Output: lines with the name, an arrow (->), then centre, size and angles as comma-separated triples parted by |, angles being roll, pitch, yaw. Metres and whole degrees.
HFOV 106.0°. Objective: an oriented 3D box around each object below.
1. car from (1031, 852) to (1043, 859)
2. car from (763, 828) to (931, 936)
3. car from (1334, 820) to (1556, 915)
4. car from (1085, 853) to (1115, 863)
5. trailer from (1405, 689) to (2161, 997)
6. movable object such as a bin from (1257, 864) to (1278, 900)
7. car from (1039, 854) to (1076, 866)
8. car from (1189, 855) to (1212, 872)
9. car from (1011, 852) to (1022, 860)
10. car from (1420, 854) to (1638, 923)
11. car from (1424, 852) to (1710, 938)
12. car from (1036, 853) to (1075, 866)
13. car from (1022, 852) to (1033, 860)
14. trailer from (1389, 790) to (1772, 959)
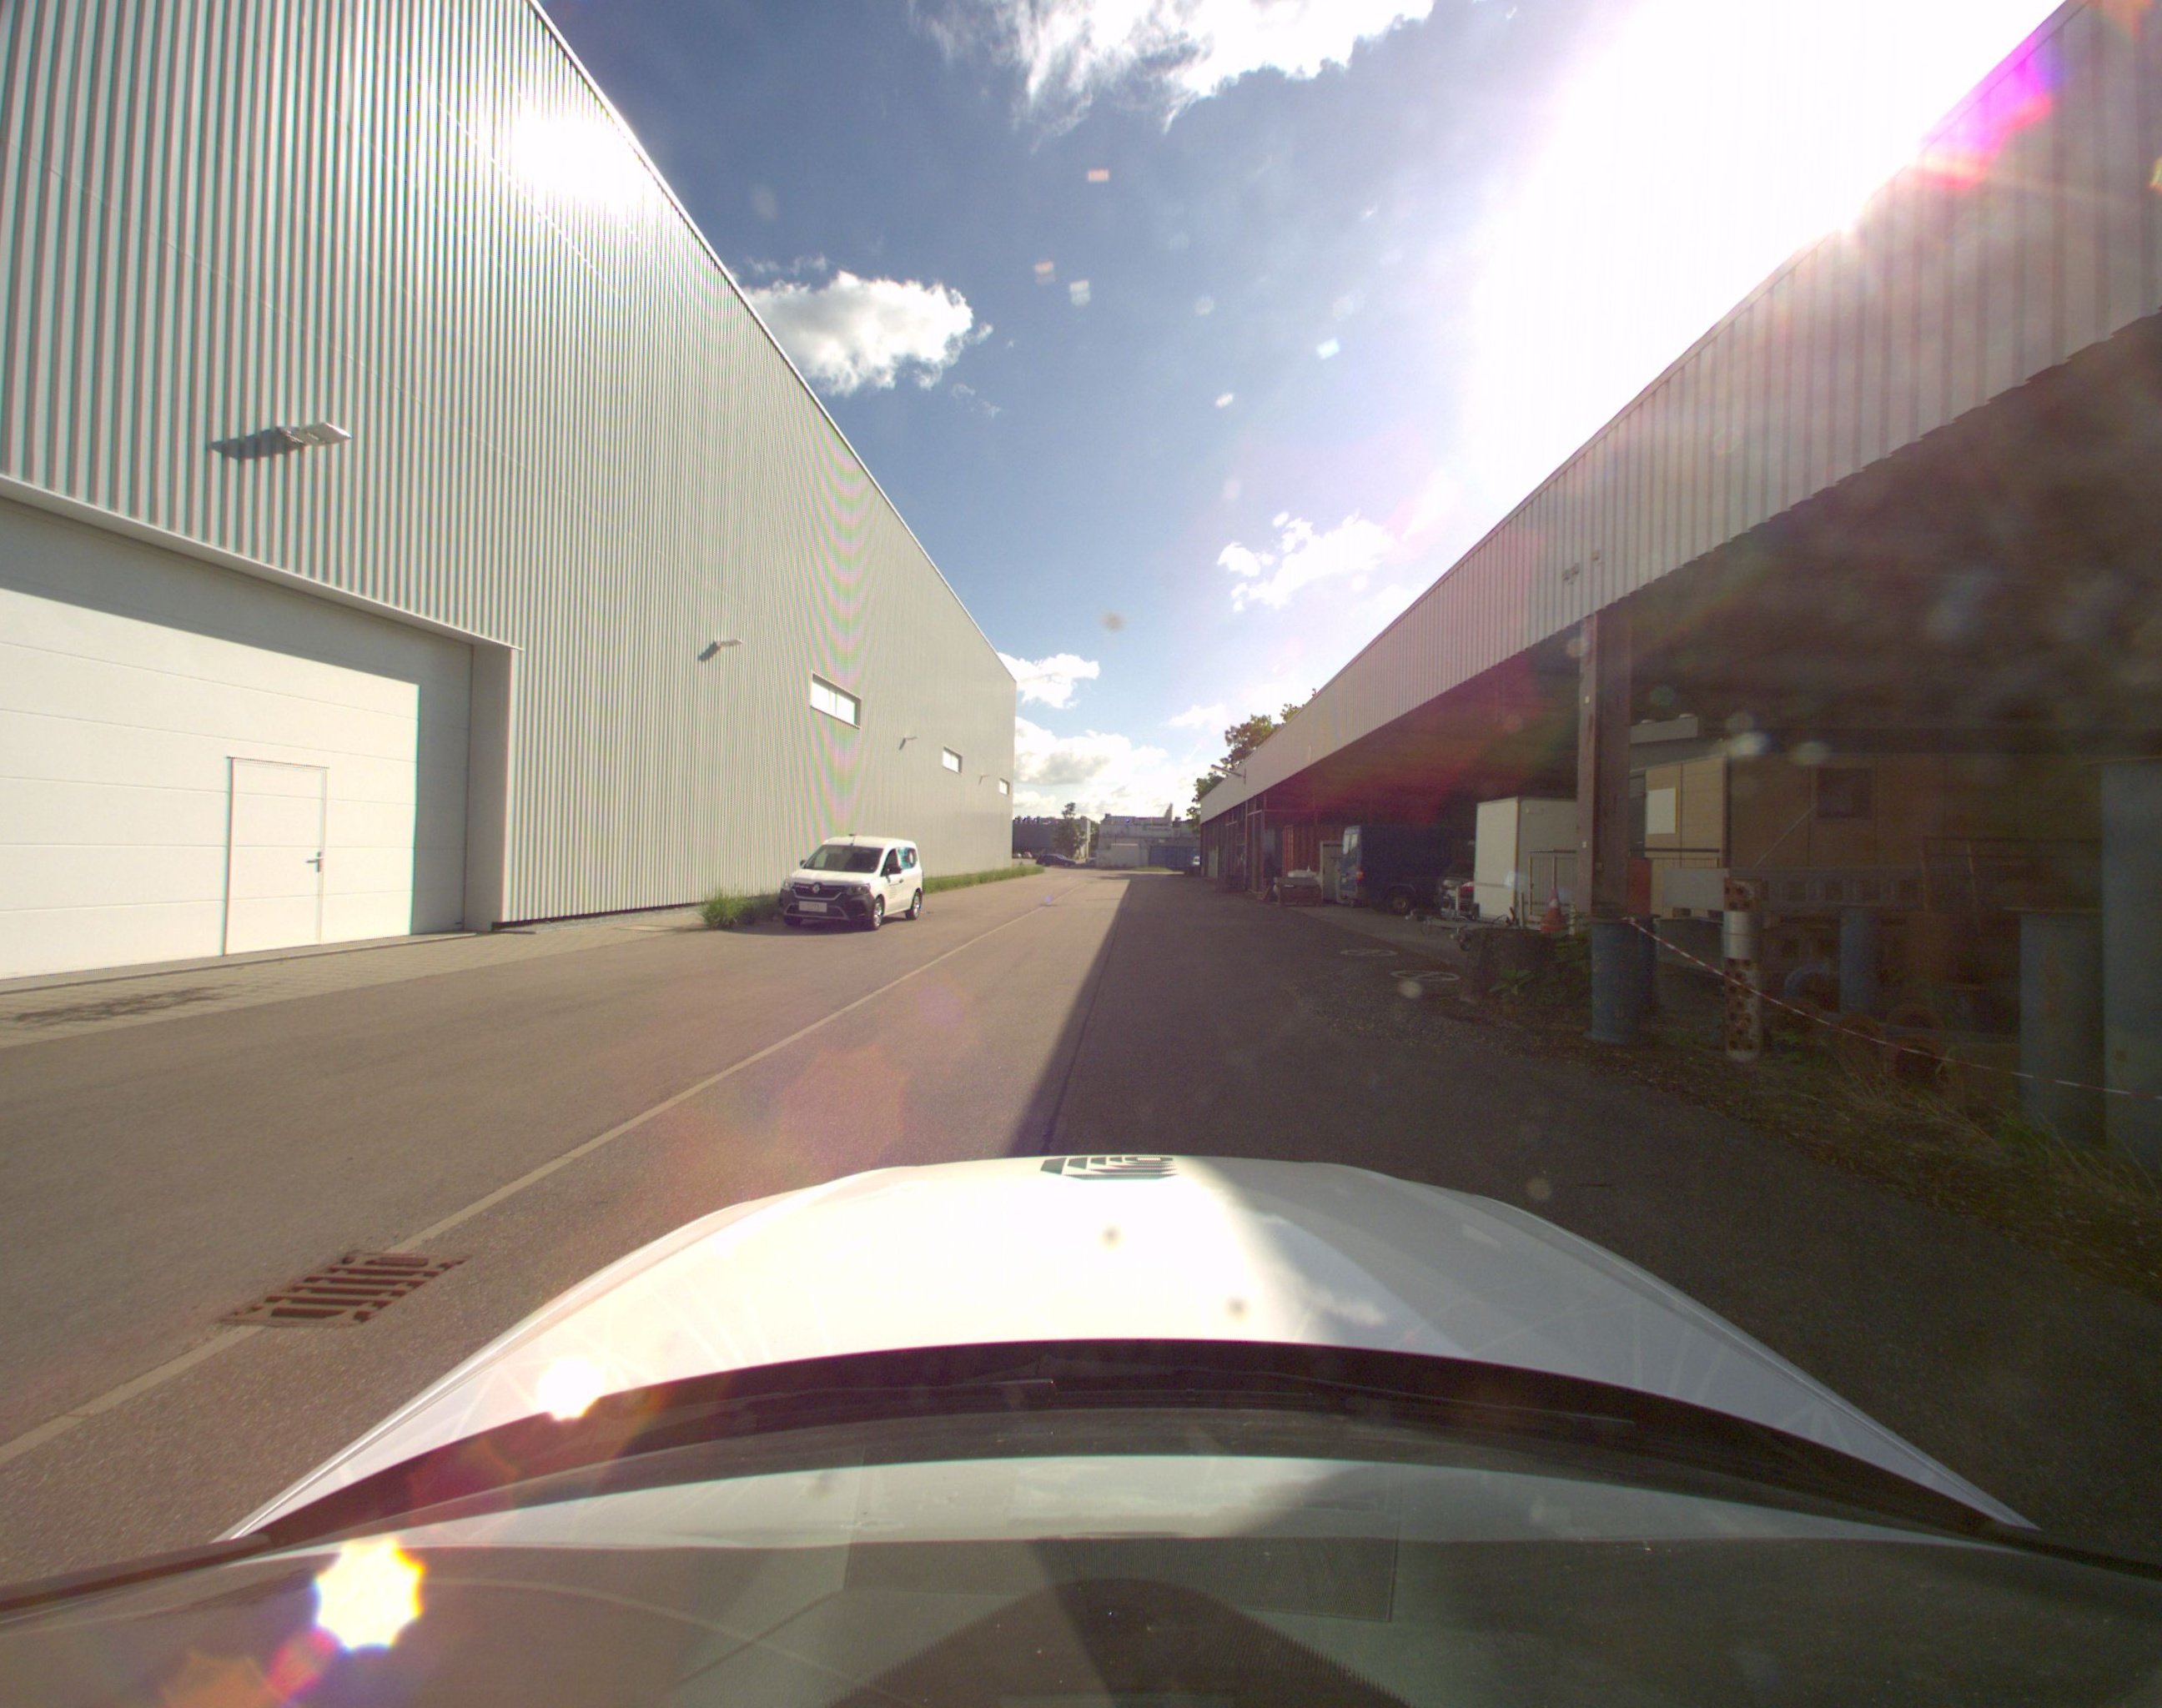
car -> -10.532, 0.393, 195.275 | 2.184, 1.736, 4.003 | -1, -1, 3
car -> -4.630, 0.505, 16.893 | 1.882, 1.845, 4.362 | 3, 0, 3
car -> 9.392, 0.338, 21.359 | 4.956, 2.325, 2.002 | 1, 0, 4
car -> 2.912, 0.567, 126.530 | 4.505, 1.508, 1.911 | 1, 0, 4
trailer -> 9.563, -0.123, 10.045 | 9.994, 3.216, 2.856 | 0, 0, 3
movable object such as a bin -> 6.235, 0.932, 27.225 | 0.578, 1.164, 1.241 | 0, 0, 8
car -> -2.948, 0.724, 102.432 | 4.504, 1.508, 1.912 | 0, 0, 5
car -> 12.519, 1.003, 85.534 | 1.985, 1.585, 4.177 | 1, 1, 3
car -> -15.549, 0.523, 196.924 | 1.985, 1.736, 4.003 | -1, -1, 3
car -> 9.983, 0.743, 18.353 | 3.975, 1.472, 1.787 | 0, 0, -1
car -> 8.956, 0.723, 15.273 | 4.313, 1.496, 1.778 | 0, 0, 1
car -> -3.141, 0.696, 99.198 | 4.504, 1.508, 1.912 | 0, 0, 5
car -> -12.954, 0.467, 197.124 | 2.184, 1.736, 4.003 | -1, -1, 3
trailer -> 7.497, 0.277, 12.707 | 4.785, 2.391, 1.831 | 0, 0, 8
